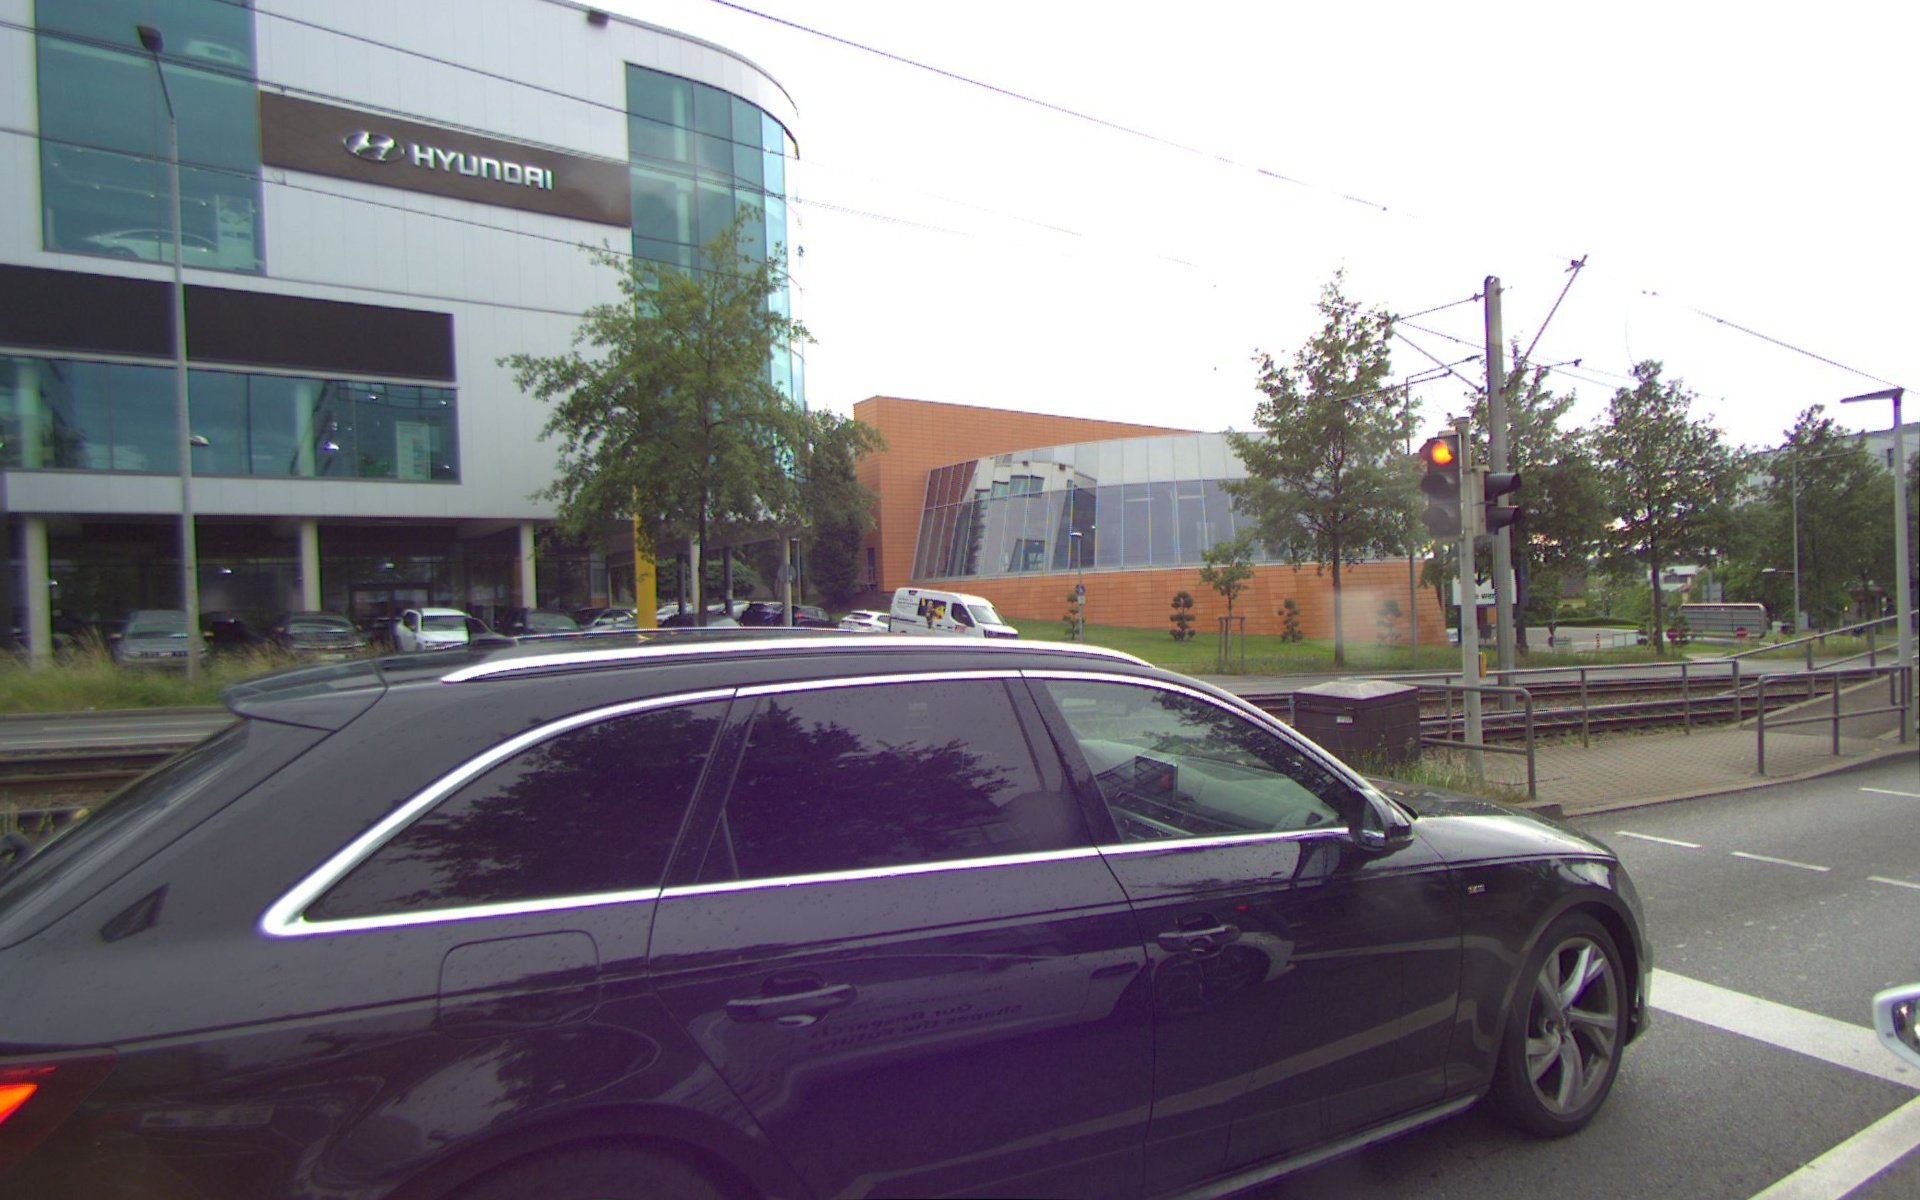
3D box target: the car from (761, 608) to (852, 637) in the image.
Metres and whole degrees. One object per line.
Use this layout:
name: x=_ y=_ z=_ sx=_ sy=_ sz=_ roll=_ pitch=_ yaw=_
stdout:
car: x=-7.223 y=1.063 z=47.513 sx=1.969 sy=1.297 sz=3.982 roll=0 pitch=-1 yaw=39

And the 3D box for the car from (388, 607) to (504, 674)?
car: x=-14.505 y=1.072 z=28.245 sx=1.984 sy=1.571 sz=4.324 roll=1 pitch=1 yaw=-40

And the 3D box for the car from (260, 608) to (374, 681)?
car: x=-16.962 y=1.102 z=26.390 sx=1.984 sy=1.571 sz=4.324 roll=1 pitch=1 yaw=-40

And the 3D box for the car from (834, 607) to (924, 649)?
car: x=-3.345 y=1.161 z=42.159 sx=1.703 sy=1.688 sz=3.734 roll=1 pitch=-1 yaw=38

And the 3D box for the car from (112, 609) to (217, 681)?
car: x=-19.872 y=1.056 z=25.064 sx=1.917 sy=1.479 sz=3.974 roll=1 pitch=1 yaw=-40

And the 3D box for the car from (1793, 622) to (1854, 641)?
car: x=65.908 y=2.374 z=76.736 sx=1.409 sy=1.405 sz=3.369 roll=0 pitch=0 yaw=-15

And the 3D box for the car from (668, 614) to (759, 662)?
car: x=-7.843 y=1.140 z=31.719 sx=1.565 sy=1.409 sz=3.619 roll=0 pitch=-1 yaw=-36

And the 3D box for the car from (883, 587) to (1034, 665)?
car: x=-0.125 y=0.914 z=38.109 sx=5.544 sy=2.616 sz=2.392 roll=3 pitch=1 yaw=43

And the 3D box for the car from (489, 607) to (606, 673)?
car: x=-12.327 y=1.135 z=29.861 sx=1.984 sy=1.637 sz=4.324 roll=1 pitch=1 yaw=-40

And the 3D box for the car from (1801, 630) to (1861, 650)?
car: x=67.368 y=3.088 z=77.742 sx=1.408 sy=1.405 sz=3.371 roll=0 pitch=0 yaw=-13

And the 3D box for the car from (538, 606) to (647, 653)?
car: x=-12.838 y=1.010 z=35.339 sx=1.691 sy=1.572 sz=3.587 roll=0 pitch=-1 yaw=20

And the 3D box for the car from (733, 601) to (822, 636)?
car: x=-8.873 y=0.909 z=49.078 sx=1.969 sy=1.653 sz=3.982 roll=0 pitch=-1 yaw=39

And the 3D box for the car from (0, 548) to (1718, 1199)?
car: x=0.078 y=0.718 z=2.856 sx=4.461 sy=1.486 sz=1.772 roll=1 pitch=-1 yaw=-31
